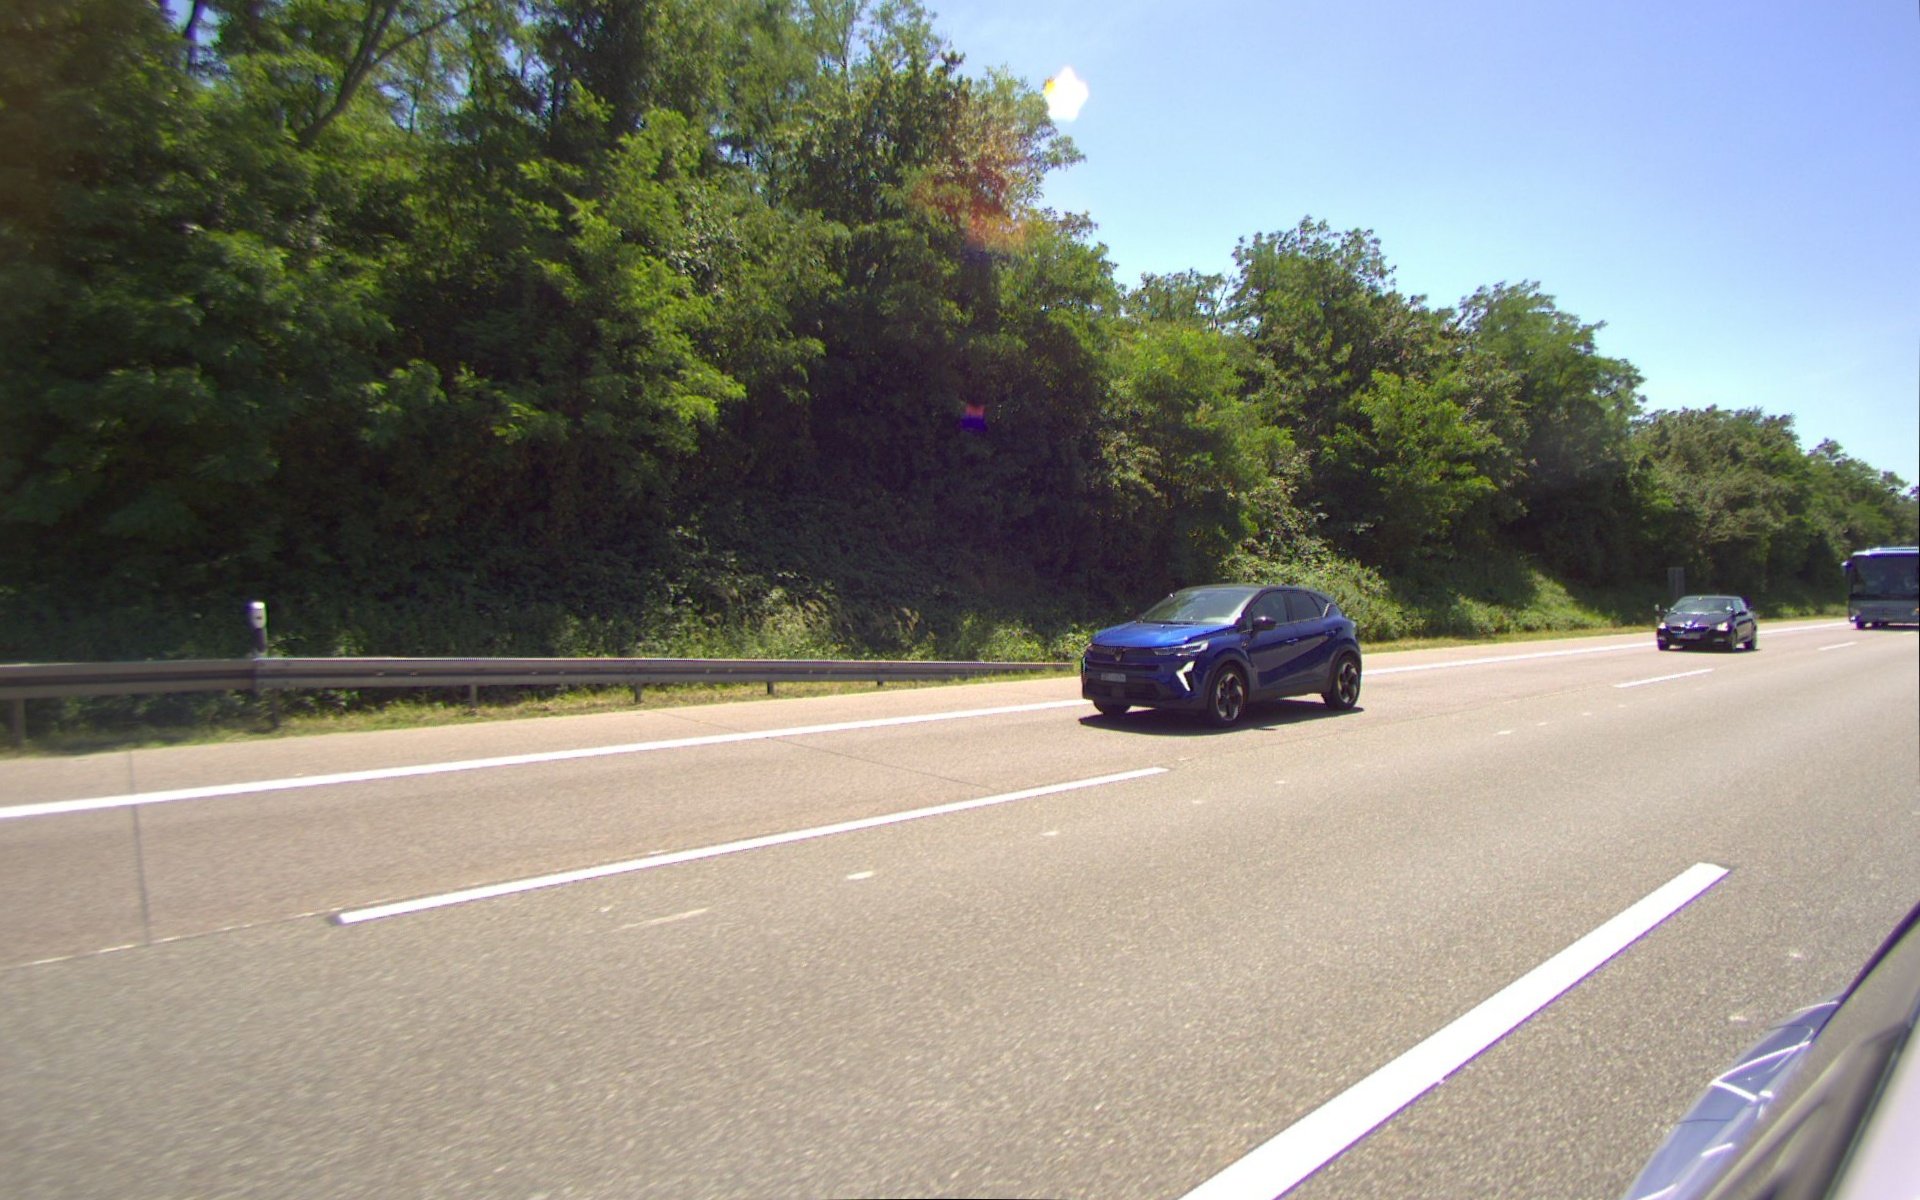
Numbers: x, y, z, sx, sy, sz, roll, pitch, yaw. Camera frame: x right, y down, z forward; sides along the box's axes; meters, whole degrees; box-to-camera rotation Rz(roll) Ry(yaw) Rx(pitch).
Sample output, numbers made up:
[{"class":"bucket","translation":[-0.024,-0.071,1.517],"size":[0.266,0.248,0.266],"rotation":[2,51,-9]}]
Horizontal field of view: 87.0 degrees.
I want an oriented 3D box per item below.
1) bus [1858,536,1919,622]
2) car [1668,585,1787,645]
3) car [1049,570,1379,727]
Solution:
[{"class":"bus","translation":[44.669,-0.981,47.143],"size":[13.445,3.597,2.614],"rotation":[-1,1,-41]},{"class":"car","translation":[20.673,0.355,27.194],"size":[4.494,1.465,1.672],"rotation":[-1,1,-41]},{"class":"car","translation":[3.185,0.455,12.277],"size":[4.128,1.575,1.873],"rotation":[-1,1,-41]}]
